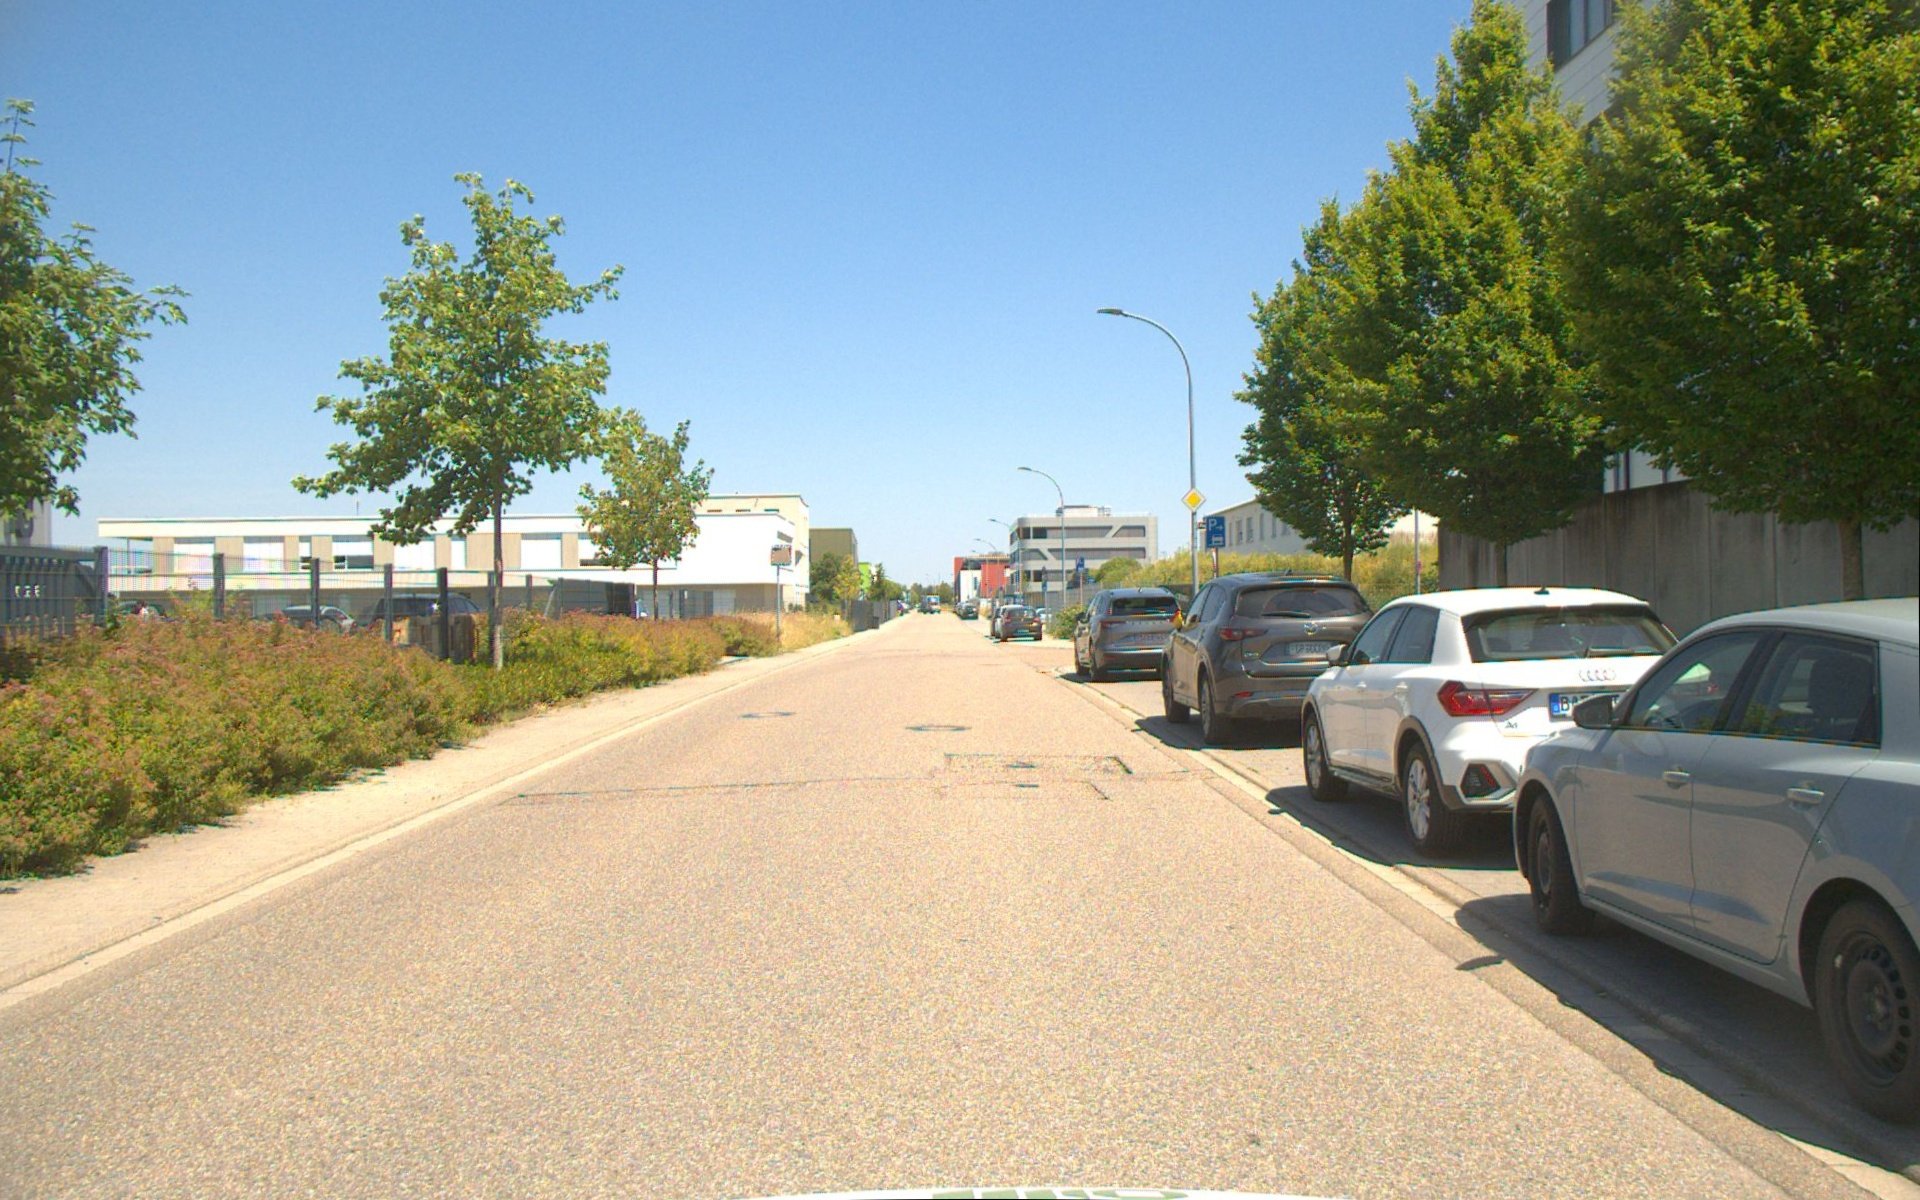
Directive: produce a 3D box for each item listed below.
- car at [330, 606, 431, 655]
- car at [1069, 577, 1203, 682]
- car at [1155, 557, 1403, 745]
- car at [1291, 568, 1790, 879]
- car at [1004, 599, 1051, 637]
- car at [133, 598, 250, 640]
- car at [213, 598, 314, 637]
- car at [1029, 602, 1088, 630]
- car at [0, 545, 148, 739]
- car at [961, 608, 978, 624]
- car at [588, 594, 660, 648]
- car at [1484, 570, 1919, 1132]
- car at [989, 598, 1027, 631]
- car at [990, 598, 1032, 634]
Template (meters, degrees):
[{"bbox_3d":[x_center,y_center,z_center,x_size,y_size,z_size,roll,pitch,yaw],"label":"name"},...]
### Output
[{"bbox_3d":[-17.030,0.868,48.764,1.789,1.361,3.757,-1,0,-3],"label":"car"},{"bbox_3d":[3.170,0.498,30.640,1.767,1.691,4.606,-3,0,-2],"label":"car"},{"bbox_3d":[3.250,0.465,17.684,1.722,1.692,4.362,-2,0,0],"label":"car"},{"bbox_3d":[3.402,0.625,10.546,1.681,1.506,4.031,-3,0,0],"label":"car"},{"bbox_3d":[2.846,0.751,70.002,1.868,1.473,4.001,-3,0,2],"label":"car"},{"bbox_3d":[-22.319,0.531,48.161,1.789,1.154,3.757,-1,0,-3],"label":"car"},{"bbox_3d":[-22.239,0.532,52.921,1.789,1.154,3.757,-1,0,-3],"label":"car"},{"bbox_3d":[7.568,1.253,127.439,4.529,2.049,2.607,1,0,2],"label":"car"},{"bbox_3d":[-11.508,0.443,18.998,1.959,2.135,4.694,1,0,1],"label":"car"},{"bbox_3d":[1.063,1.734,180.714,1.740,1.758,3.999,1,0,-1],"label":"car"},{"bbox_3d":[-10.132,0.609,50.029,1.666,1.547,2.996,-1,0,-3],"label":"car"},{"bbox_3d":[3.376,0.650,5.894,1.681,1.448,3.951,-3,0,0],"label":"car"},{"bbox_3d":[2.490,0.716,85.237,1.868,1.573,4.001,-3,0,2],"label":"car"},{"bbox_3d":[2.449,0.746,78.919,1.868,1.573,4.001,-3,0,2],"label":"car"}]
